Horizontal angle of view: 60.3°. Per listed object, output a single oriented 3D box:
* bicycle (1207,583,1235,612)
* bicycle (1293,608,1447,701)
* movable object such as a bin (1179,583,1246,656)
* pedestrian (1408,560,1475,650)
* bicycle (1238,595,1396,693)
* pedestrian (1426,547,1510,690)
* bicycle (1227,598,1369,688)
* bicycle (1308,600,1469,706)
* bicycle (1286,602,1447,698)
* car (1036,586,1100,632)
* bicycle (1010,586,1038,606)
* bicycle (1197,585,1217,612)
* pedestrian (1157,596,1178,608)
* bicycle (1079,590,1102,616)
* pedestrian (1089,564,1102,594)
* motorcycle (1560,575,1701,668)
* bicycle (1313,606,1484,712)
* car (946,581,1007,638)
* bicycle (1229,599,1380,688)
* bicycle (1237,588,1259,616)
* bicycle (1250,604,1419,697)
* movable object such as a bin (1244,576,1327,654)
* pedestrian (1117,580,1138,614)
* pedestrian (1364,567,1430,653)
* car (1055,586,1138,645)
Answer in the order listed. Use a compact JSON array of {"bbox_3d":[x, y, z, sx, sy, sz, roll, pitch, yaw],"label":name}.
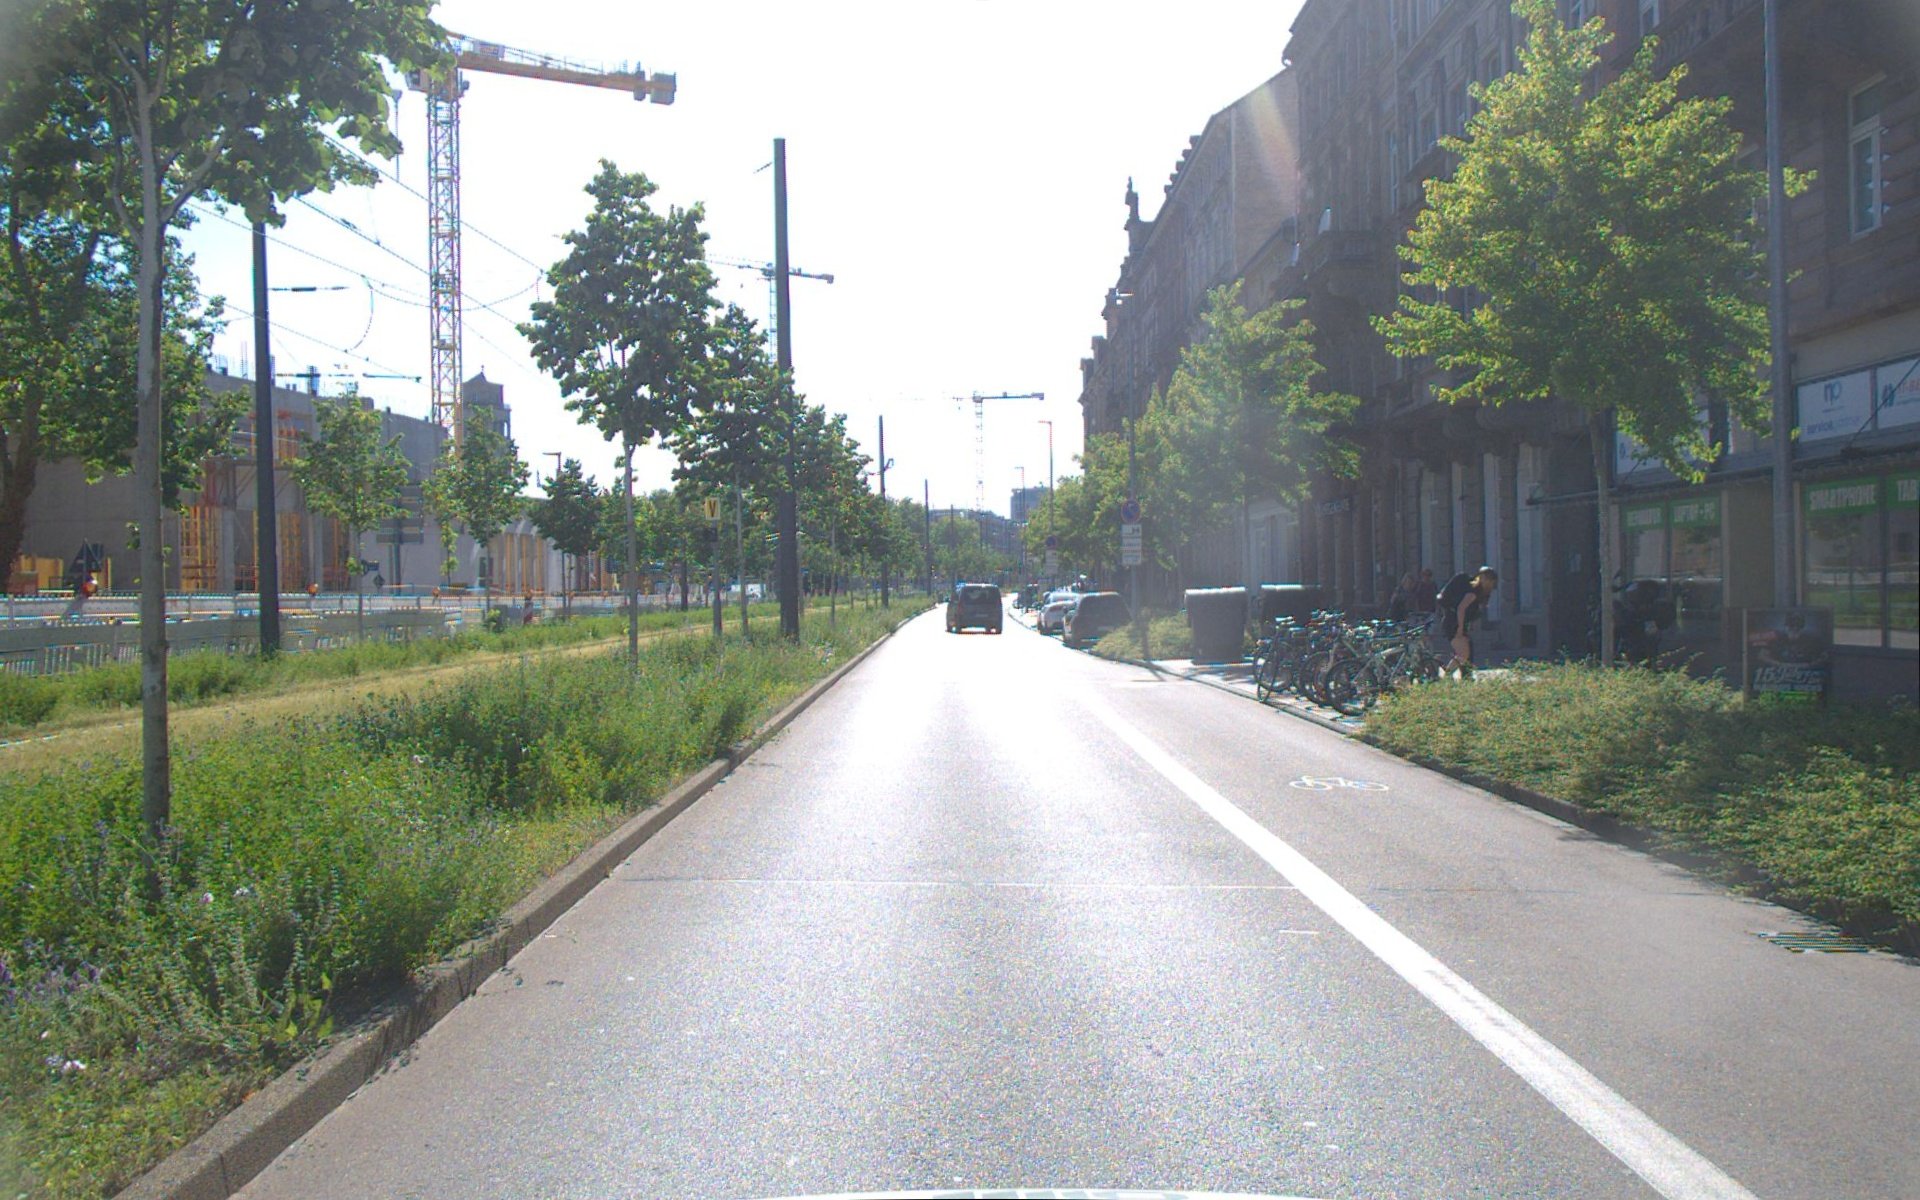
[{"bbox_3d":[10.115,-0.107,64.115,0.706,1.109,2.198,-2,0,0],"label":"bicycle"},{"bbox_3d":[5.224,0.679,21.119,1.780,1.074,0.571,-3,0,-6],"label":"bicycle"},{"bbox_3d":[5.279,0.411,34.711,1.244,1.489,1.644,0,-1,4],"label":"movable object such as a bin"},{"bbox_3d":[9.349,0.086,32.128,0.951,1.667,0.992,-2,1,-1],"label":"pedestrian"},{"bbox_3d":[4.965,0.601,22.969,2.111,1.174,0.428,-5,1,-14],"label":"bicycle"},{"bbox_3d":[6.584,0.229,21.445,0.881,1.765,0.850,-5,0,17],"label":"pedestrian"},{"bbox_3d":[4.998,0.624,24.461,1.937,1.143,0.481,-5,1,-6],"label":"bicycle"},{"bbox_3d":[5.170,0.631,20.000,1.829,1.199,0.373,-2,0,-3],"label":"bicycle"},{"bbox_3d":[5.263,0.646,21.463,1.938,1.127,0.435,-3,0,-3],"label":"bicycle"},{"bbox_3d":[3.902,0.302,60.281,1.912,1.521,5.105,-3,0,0],"label":"car"},{"bbox_3d":[4.549,-0.289,117.655,1.843,1.255,0.499,-4,0,-6],"label":"bicycle"},{"bbox_3d":[10.226,-0.067,68.524,0.471,1.109,2.057,-2,0,0],"label":"bicycle"},{"bbox_3d":[10.155,0.099,80.941,0.757,0.562,2.007,-2,1,-1],"label":"pedestrian"},{"bbox_3d":[6.047,0.146,76.906,0.637,1.139,2.169,-3,0,-6],"label":"bicycle"},{"bbox_3d":[9.290,-1.443,113.789,0.801,2.049,1.046,0,-2,0],"label":"pedestrian"},{"bbox_3d":[9.854,0.310,24.459,0.848,1.288,2.981,0,0,-1],"label":"motorcycle"},{"bbox_3d":[5.194,0.690,19.646,1.855,1.128,0.517,-3,0,-6],"label":"bicycle"},{"bbox_3d":[0.603,0.355,62.566,1.954,2.049,3.996,0,0,-5],"label":"car"},{"bbox_3d":[5.007,0.620,24.054,2.005,1.126,0.610,-4,0,-7],"label":"bicycle"},{"bbox_3d":[10.378,0.060,59.598,0.438,0.961,2.012,-1,1,0],"label":"bicycle"},{"bbox_3d":[5.123,0.678,22.631,2.247,1.121,0.484,-3,0,-15],"label":"bicycle"},{"bbox_3d":[6.841,0.309,34.904,1.345,1.521,1.749,-4,0,1],"label":"movable object such as a bin"},{"bbox_3d":[8.703,-0.135,86.125,0.975,1.762,0.866,0,0,-1],"label":"pedestrian"},{"bbox_3d":[8.416,0.184,31.889,0.931,1.593,1.080,-2,1,-1],"label":"pedestrian"},{"bbox_3d":[3.866,0.430,47.573,1.731,1.502,4.446,-4,0,-3],"label":"car"}]
